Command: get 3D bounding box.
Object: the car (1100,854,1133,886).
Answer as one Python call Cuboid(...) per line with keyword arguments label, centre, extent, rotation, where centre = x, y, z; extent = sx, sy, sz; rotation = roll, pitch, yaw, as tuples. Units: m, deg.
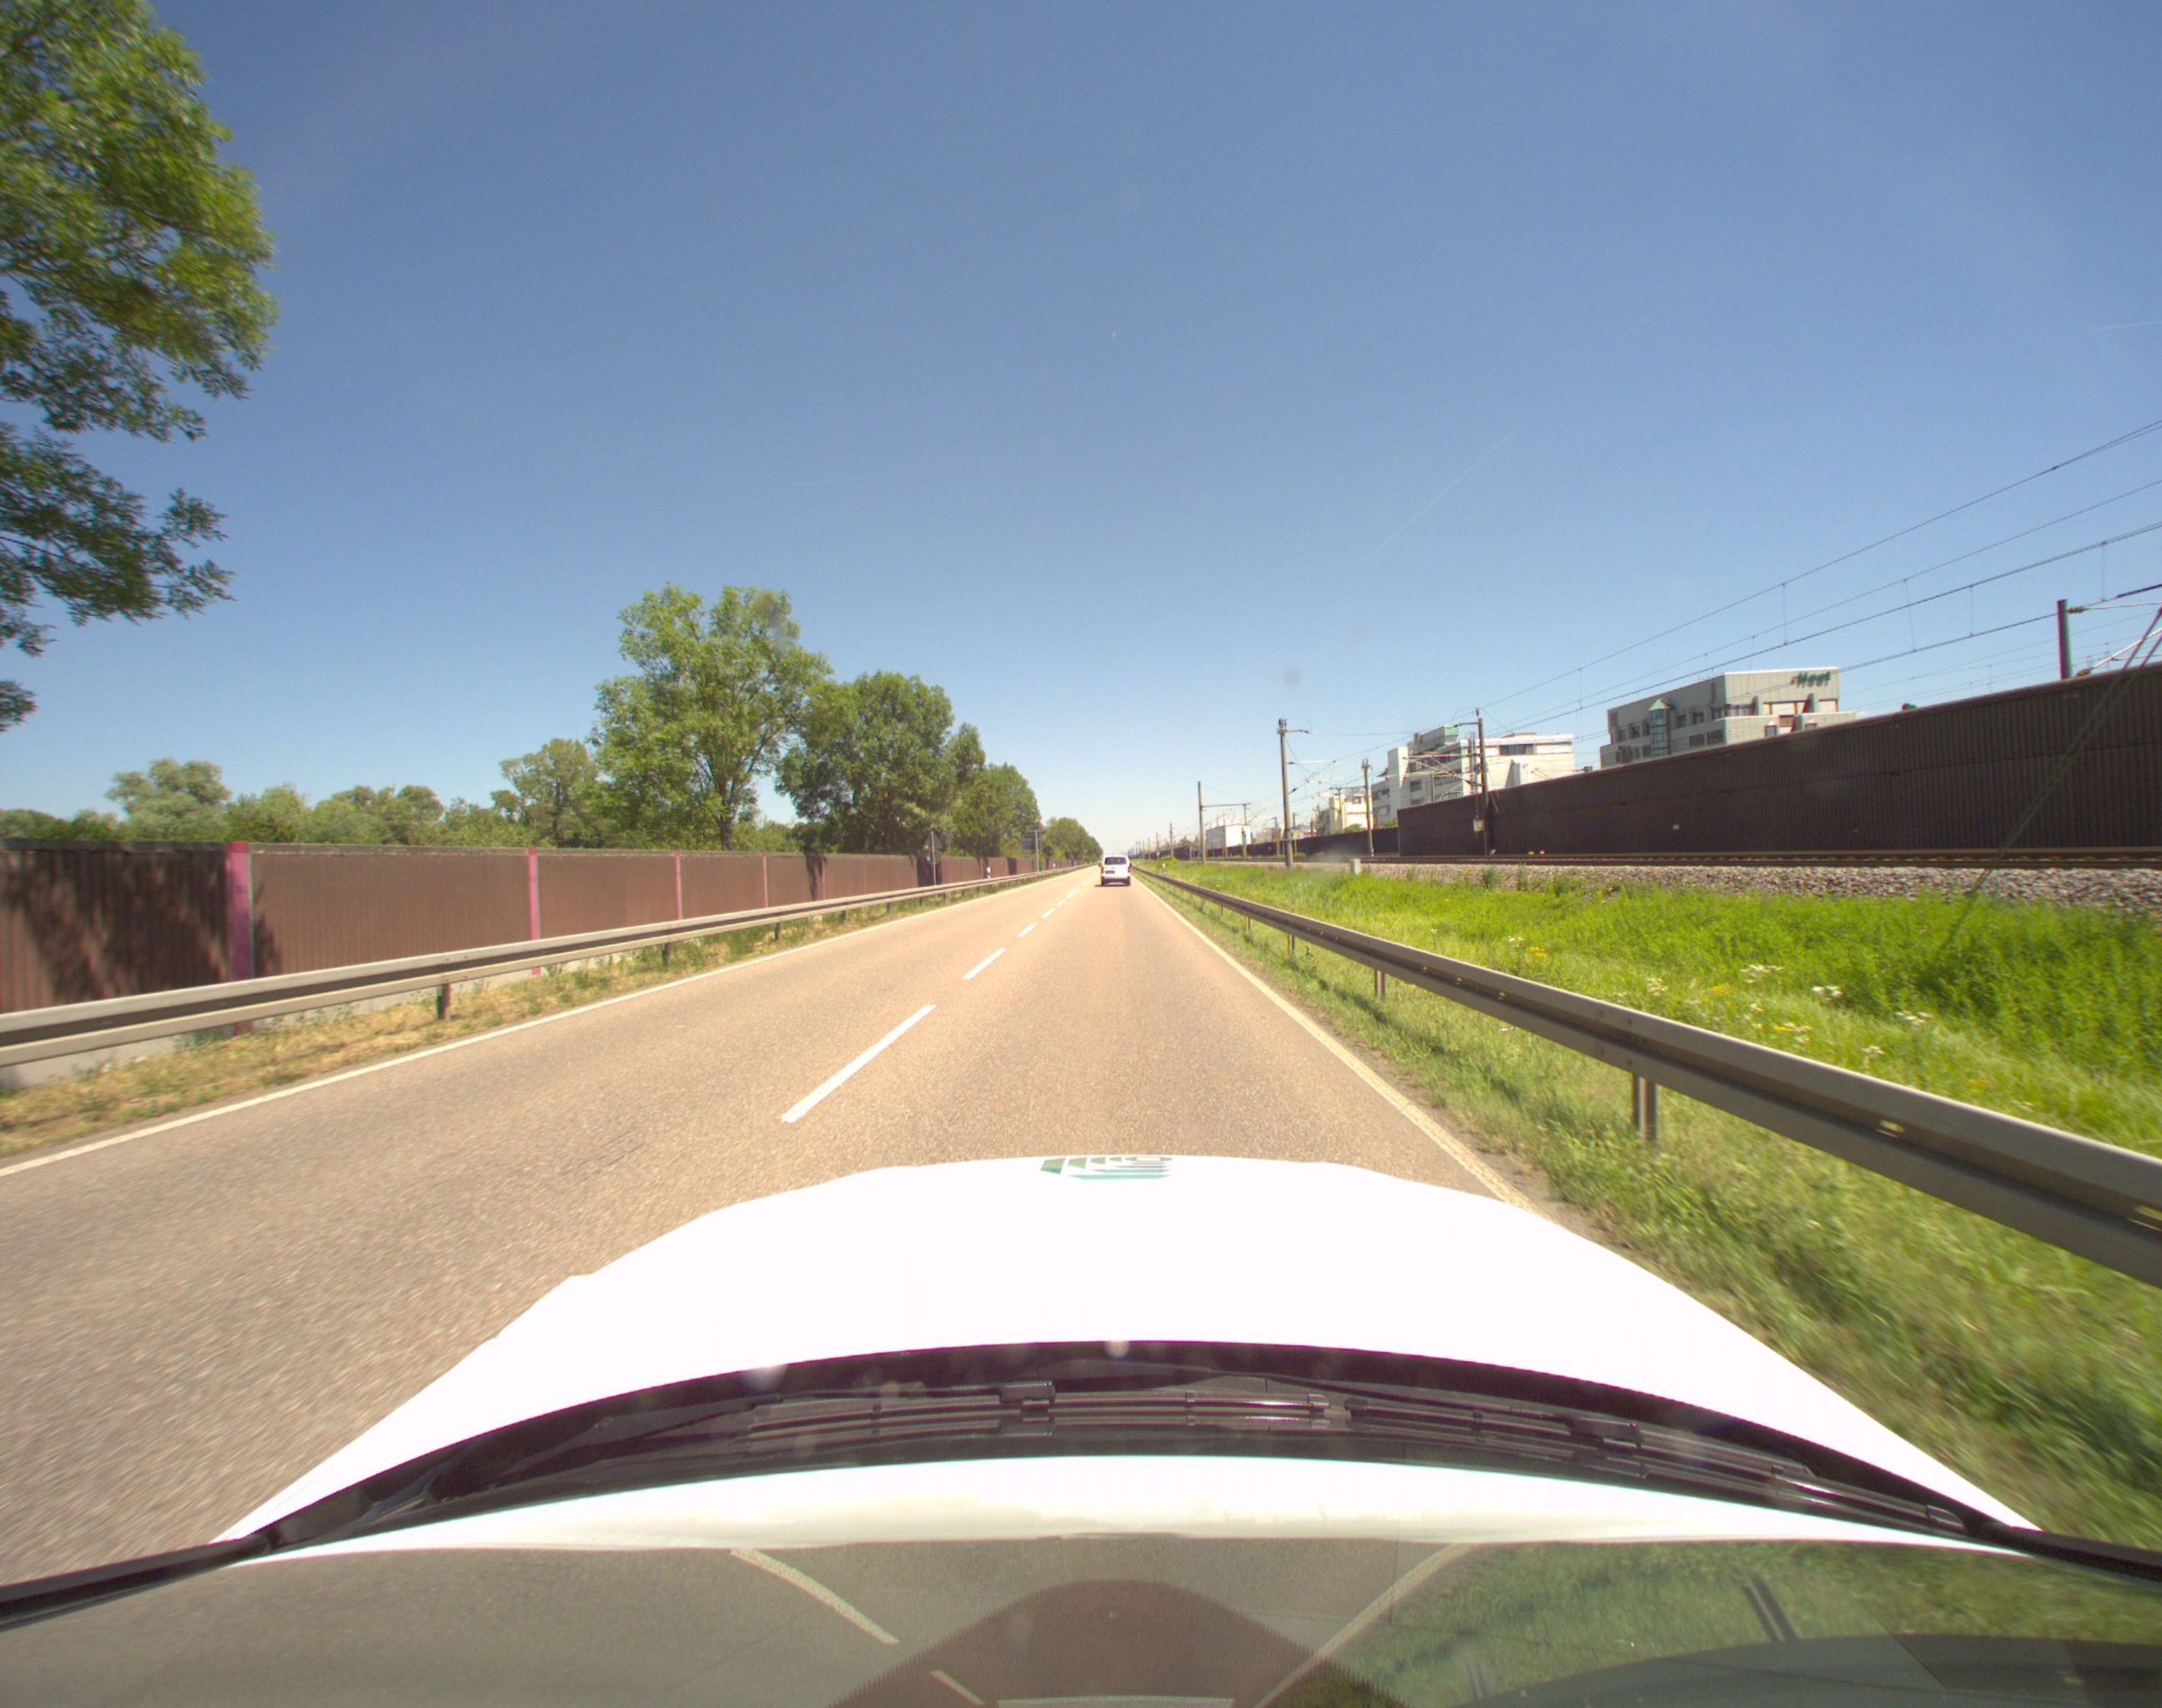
Cuboid(label="car", centre=(2.275, 1.006, 52.145), extent=(1.938, 1.881, 4.883), rotation=(-2, -1, 2))
